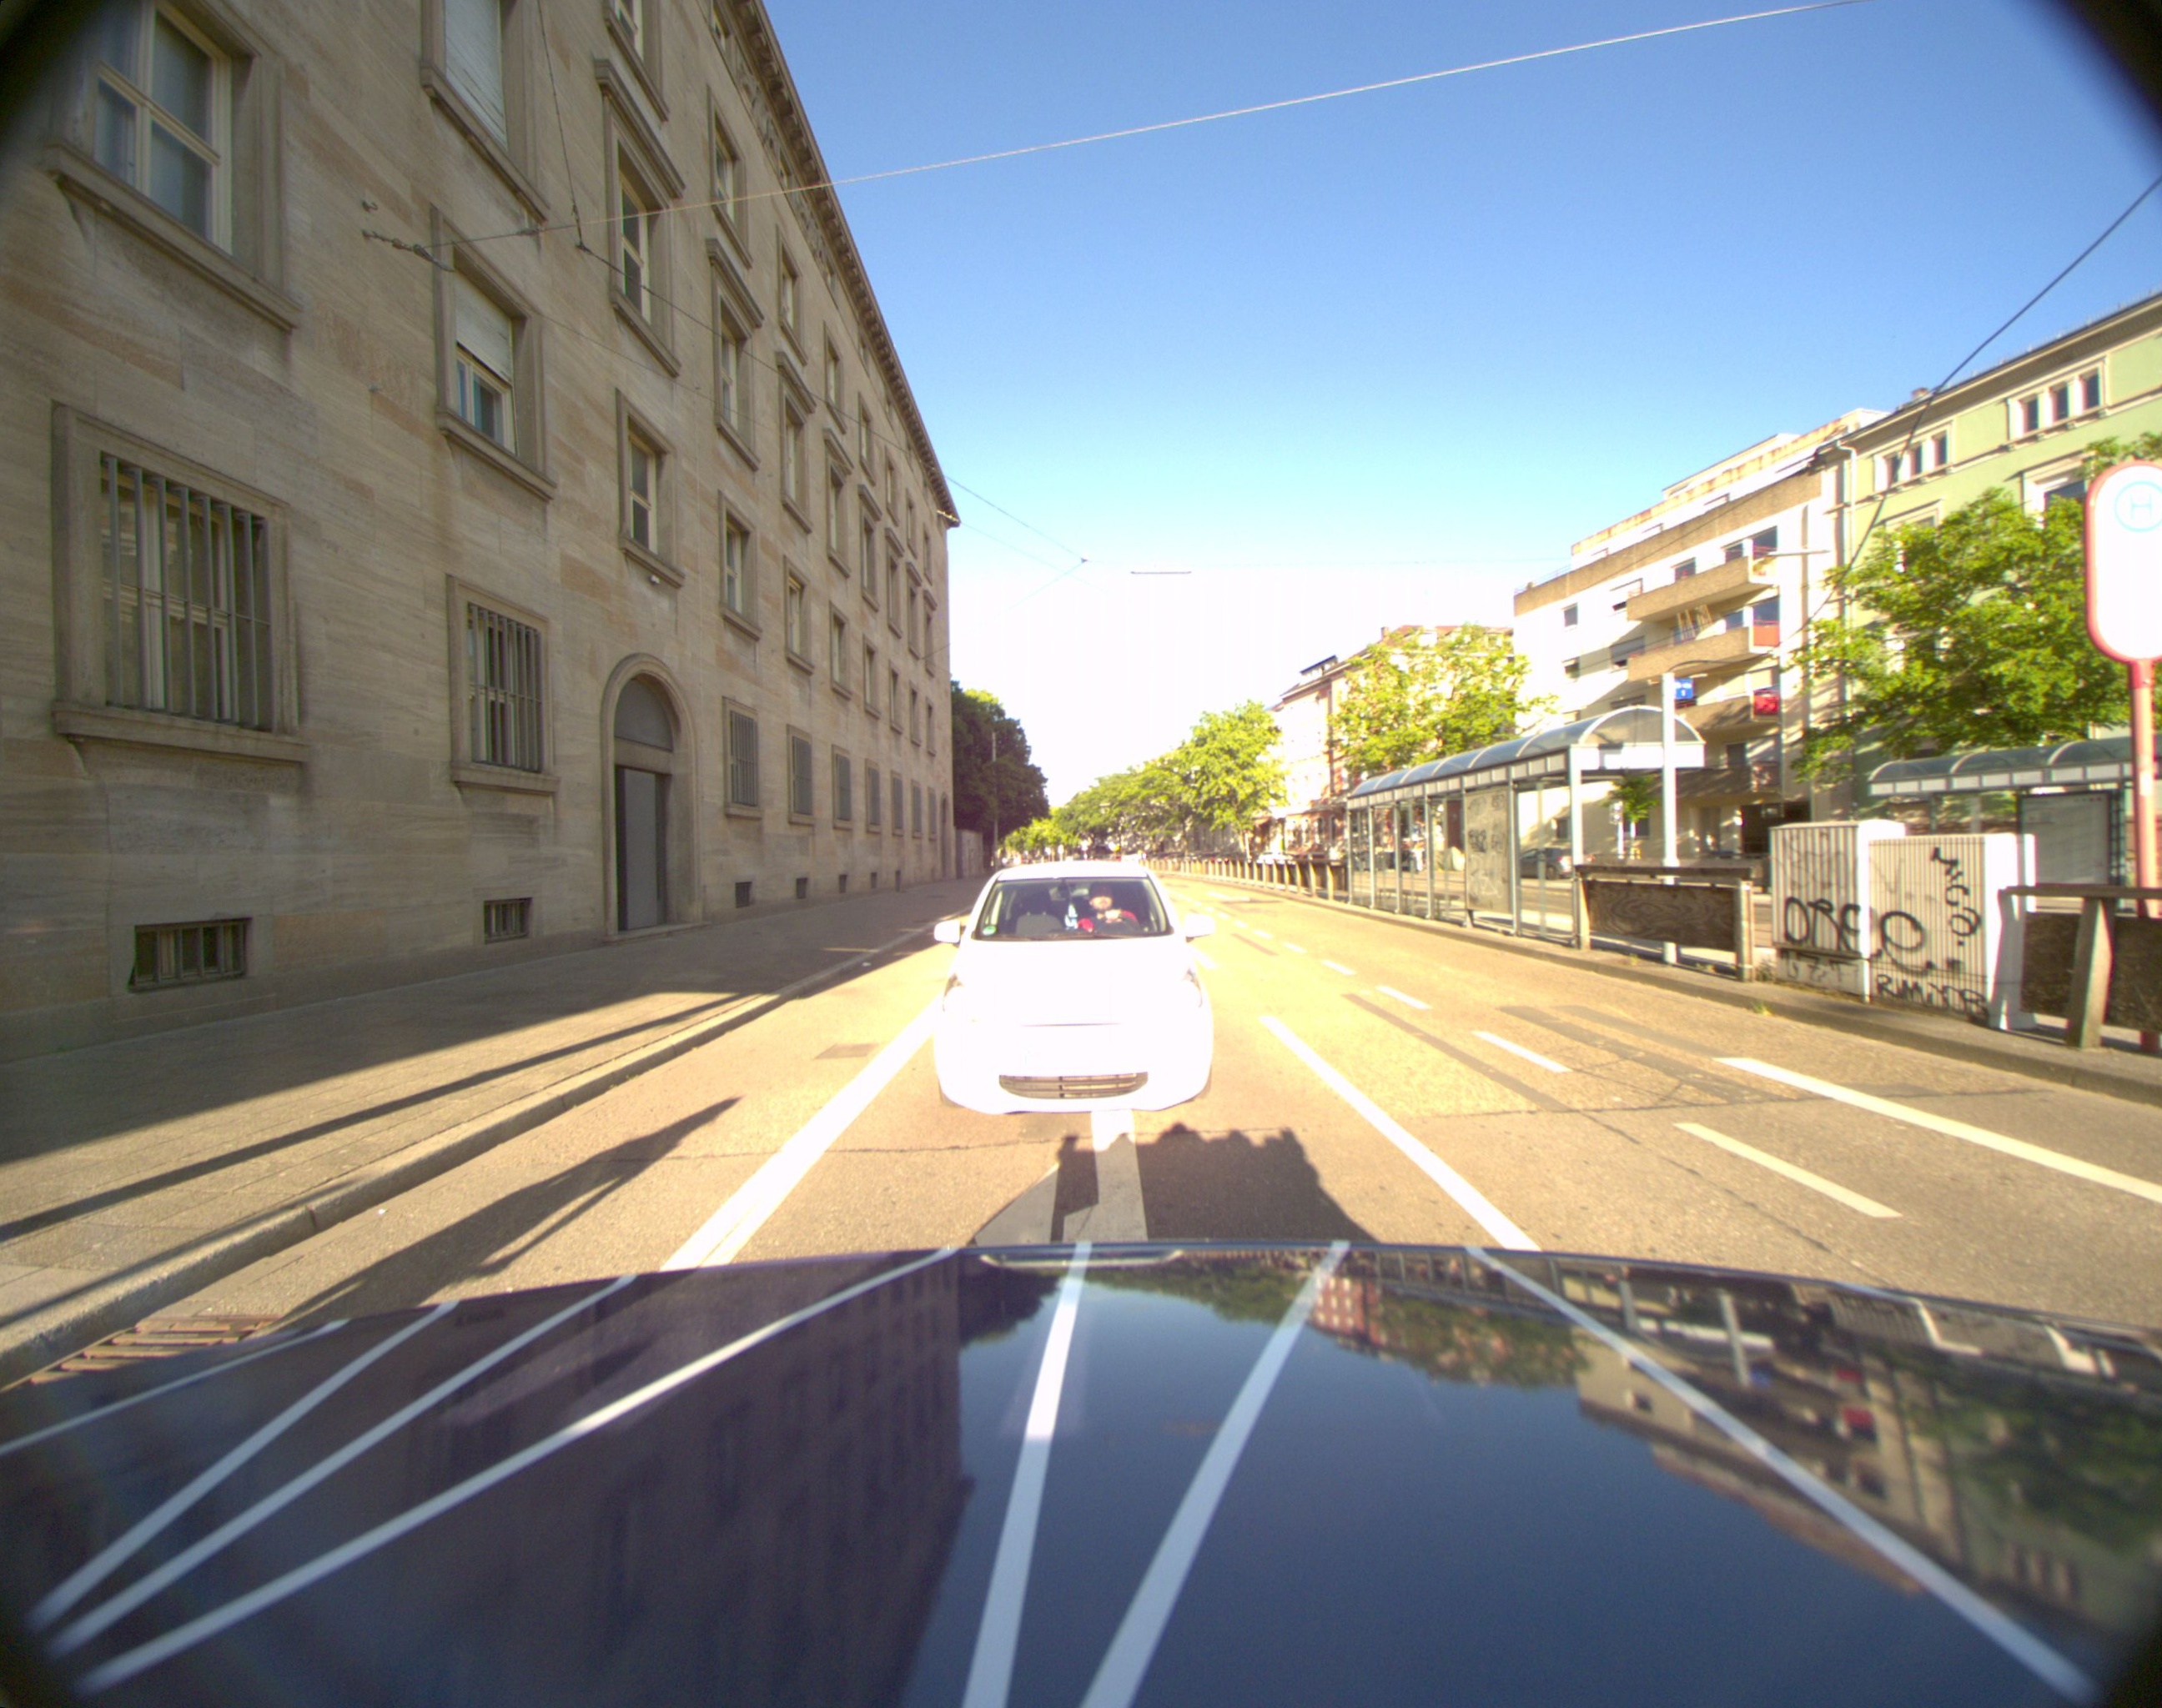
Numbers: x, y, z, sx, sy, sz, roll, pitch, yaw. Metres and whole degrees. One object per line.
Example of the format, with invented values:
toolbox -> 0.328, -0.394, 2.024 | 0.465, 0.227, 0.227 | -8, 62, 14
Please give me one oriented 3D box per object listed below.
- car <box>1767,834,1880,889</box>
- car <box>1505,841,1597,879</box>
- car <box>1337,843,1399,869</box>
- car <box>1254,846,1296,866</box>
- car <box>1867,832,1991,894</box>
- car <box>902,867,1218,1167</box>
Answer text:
car -> 23.874, 0.224, 24.416 | 3.605, 1.558, 1.627 | -3, 1, -29
car -> 20.905, 0.230, 33.946 | 1.631, 1.558, 3.598 | -2, 1, -5
car -> 19.535, 0.122, 51.736 | 3.599, 1.558, 1.630 | -2, 1, -7
car -> 16.250, 0.153, 63.490 | 3.607, 1.558, 1.627 | -3, 1, -42
car -> 24.453, 0.230, 21.903 | 3.605, 1.558, 1.627 | -3, 1, -29
car -> -0.085, 0.892, 5.823 | 1.612, 1.462, 3.631 | -2, 0, 1
